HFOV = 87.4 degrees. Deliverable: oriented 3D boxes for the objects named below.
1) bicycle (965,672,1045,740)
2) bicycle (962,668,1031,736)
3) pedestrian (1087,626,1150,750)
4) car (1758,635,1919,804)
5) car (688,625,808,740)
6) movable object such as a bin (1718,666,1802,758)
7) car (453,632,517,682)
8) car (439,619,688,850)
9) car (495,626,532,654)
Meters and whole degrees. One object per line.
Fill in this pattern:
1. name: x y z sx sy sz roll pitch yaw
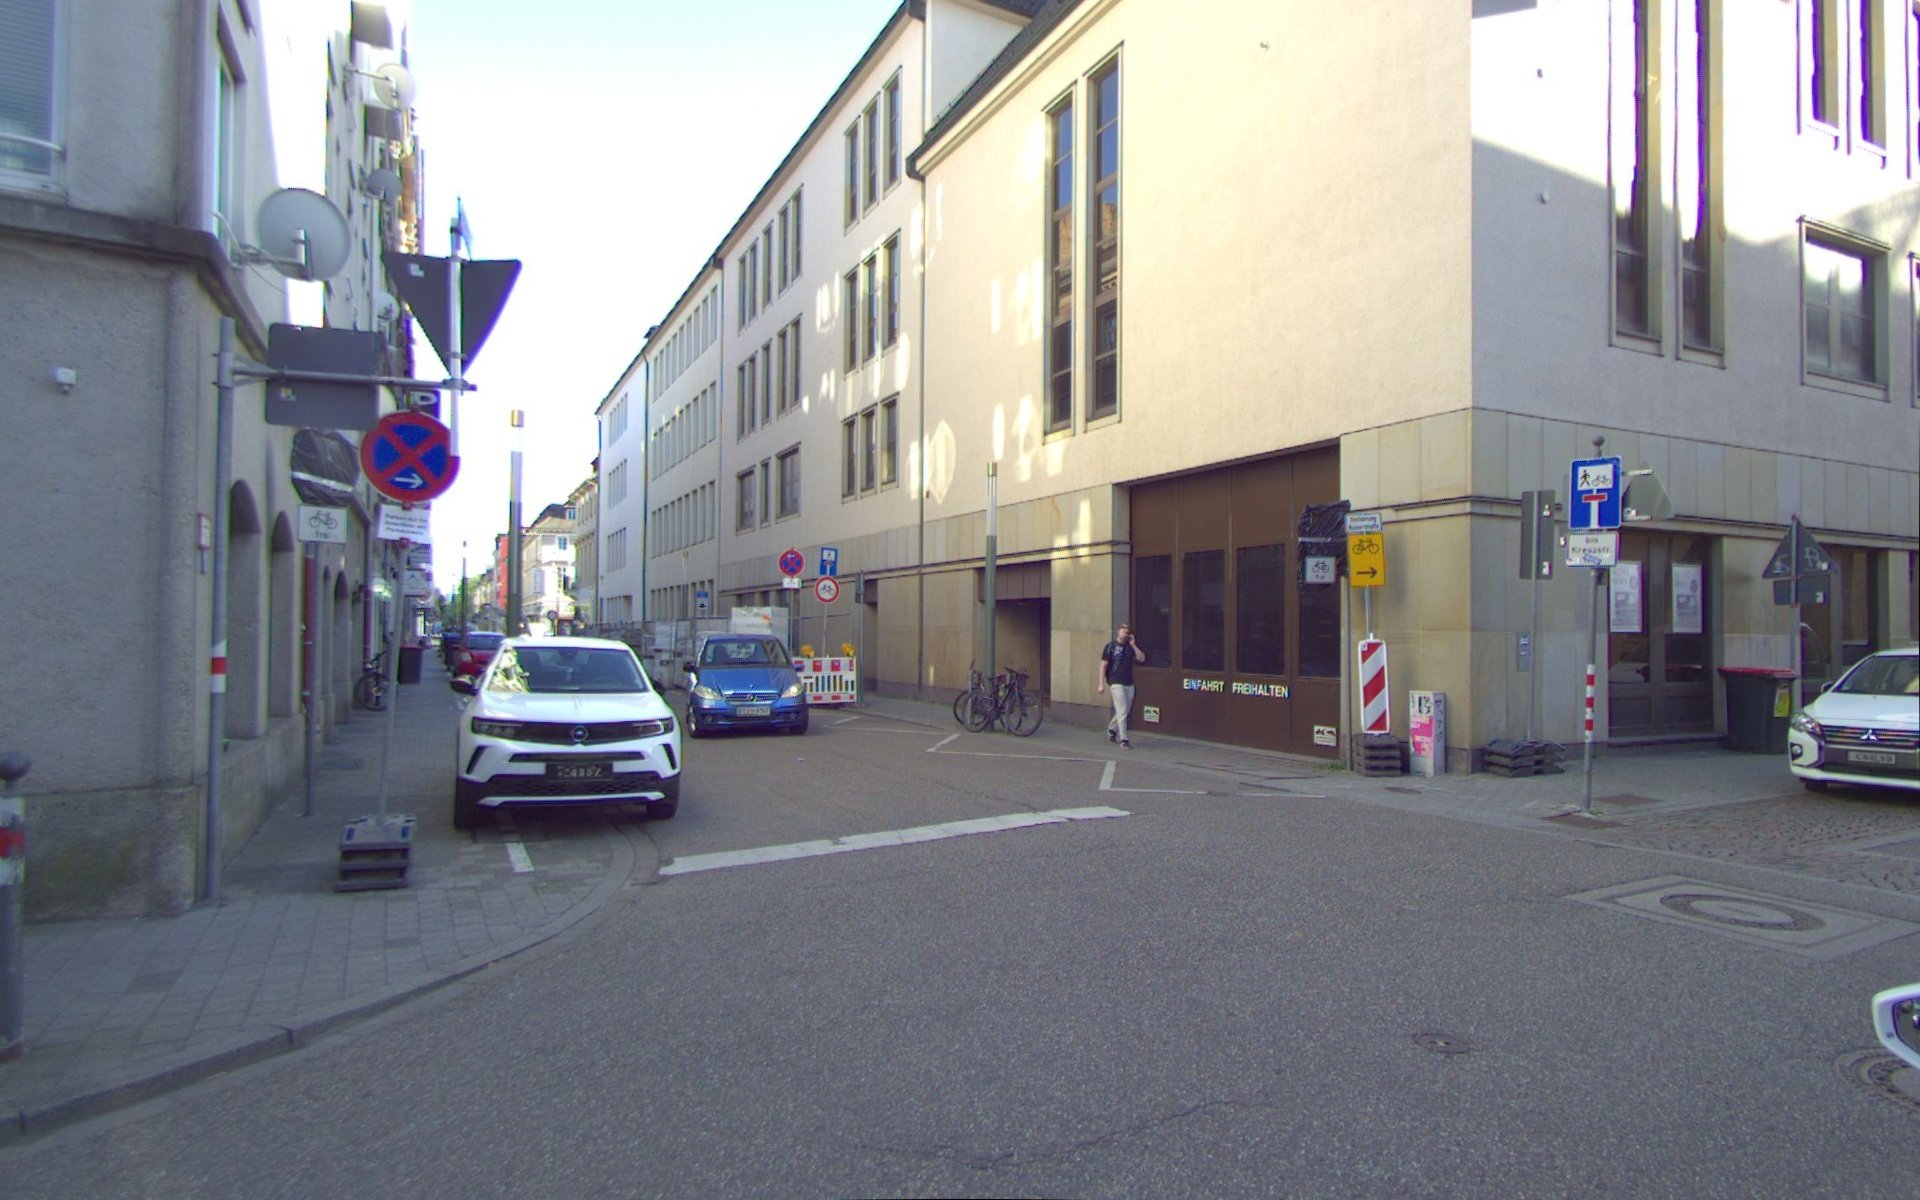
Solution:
1. bicycle: 0.703 1.689 16.248 0.223 0.978 1.680 1 -1 -39
2. bicycle: 0.593 1.690 16.822 0.268 1.017 1.472 1 -1 -38
3. pedestrian: 2.319 1.256 14.671 0.681 1.725 0.663 0 0 36
4. car: 10.149 1.140 10.387 3.748 1.526 1.663 1 -3 -29
5. car: -3.639 1.331 16.841 1.734 1.677 3.989 1 -3 -15
6. movable object such as a bin: 10.153 1.405 12.752 0.705 1.075 0.605 2 1 -32
7. car: -14.723 1.733 31.214 1.659 1.461 3.561 1 -2 -25
8. car: -3.657 1.057 9.511 1.737 1.677 3.982 1 -2 -20
9. car: -28.224 2.518 63.500 1.825 1.690 3.777 1 -2 -29
